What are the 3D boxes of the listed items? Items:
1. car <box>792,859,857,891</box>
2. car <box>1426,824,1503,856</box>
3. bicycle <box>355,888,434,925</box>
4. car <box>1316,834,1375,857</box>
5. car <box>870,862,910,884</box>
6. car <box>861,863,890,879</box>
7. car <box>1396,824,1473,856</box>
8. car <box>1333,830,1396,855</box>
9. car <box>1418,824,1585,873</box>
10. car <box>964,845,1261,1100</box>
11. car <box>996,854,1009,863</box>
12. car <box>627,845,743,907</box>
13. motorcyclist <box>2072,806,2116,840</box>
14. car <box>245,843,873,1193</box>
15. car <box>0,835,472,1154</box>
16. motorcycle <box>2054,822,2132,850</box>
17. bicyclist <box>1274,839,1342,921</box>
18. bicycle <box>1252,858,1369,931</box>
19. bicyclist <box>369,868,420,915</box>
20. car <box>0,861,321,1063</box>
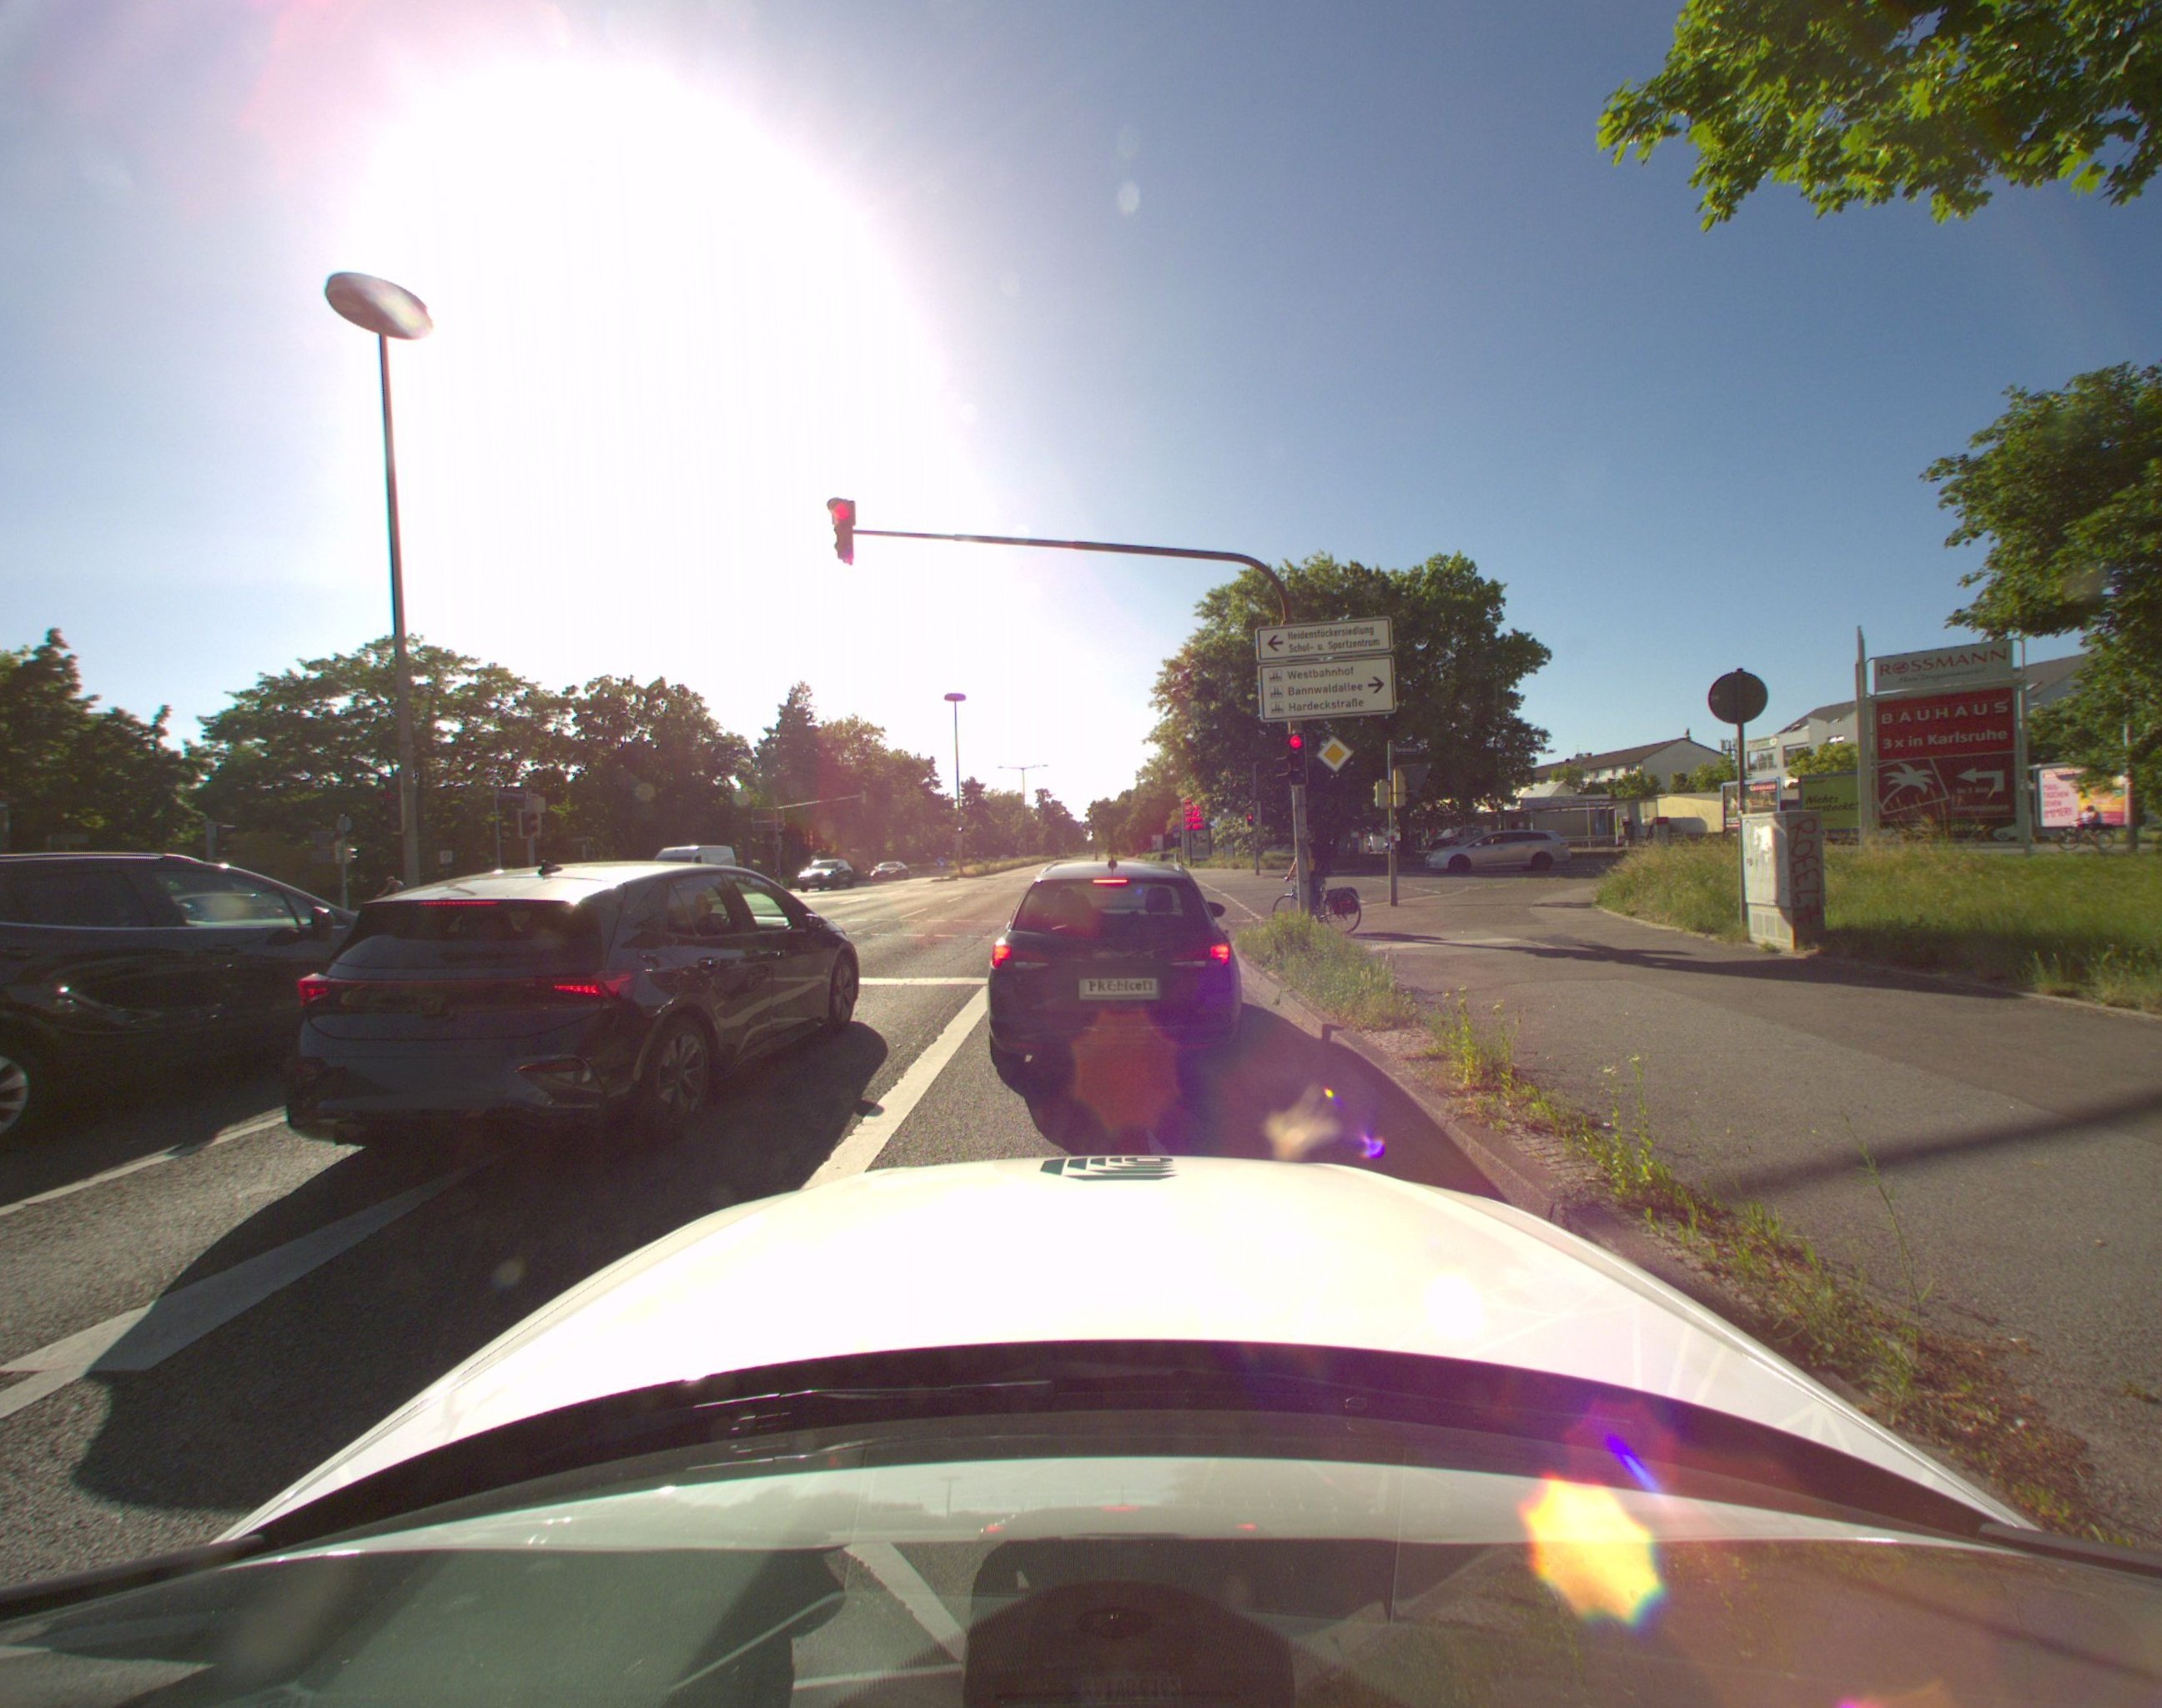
[{"bbox_3d":[-14.203,1.126,45.429,1.986,1.601,4.617,-3,0,2],"label":"car"},{"bbox_3d":[22.383,-0.816,47.527,4.002,1.680,1.733,-3,0,-21],"label":"car"},{"bbox_3d":[-25.794,1.946,30.673,0.874,1.212,2.533,-3,0,-3],"label":"bicycle"},{"bbox_3d":[19.333,-0.616,59.527,3.903,1.517,1.733,-3,0,-21],"label":"car"},{"bbox_3d":[-13.921,1.373,59.674,1.769,1.463,4.166,-3,0,2],"label":"car"},{"bbox_3d":[-17.571,1.405,69.703,1.384,1.235,3.637,-3,0,2],"label":"car"},{"bbox_3d":[21.417,-0.822,49.381,4.003,1.750,1.985,-3,0,-22],"label":"car"},{"bbox_3d":[19.668,-0.823,56.434,3.903,1.517,1.733,-3,0,-21],"label":"car"},{"bbox_3d":[14.967,-0.193,29.295,4.969,1.486,2.007,-2,0,13],"label":"car"},{"bbox_3d":[0.253,0.721,6.966,1.750,1.495,4.208,-1,0,2],"label":"car"},{"bbox_3d":[-15.469,0.879,160.720,1.986,1.530,4.001,-3,0,1],"label":"car"},{"bbox_3d":[-17.921,0.915,37.291,2.092,2.492,6.006,-3,0,2],"label":"car"},{"bbox_3d":[37.496,-1.136,30.148,0.762,1.176,0.657,-3,0,12],"label":"motorcyclist"},{"bbox_3d":[-2.955,0.768,5.858,1.678,1.580,4.208,-1,0,2],"label":"car"},{"bbox_3d":[-6.616,0.783,5.521,1.798,1.689,4.002,-3,0,2],"label":"car"},{"bbox_3d":[37.463,-0.660,30.155,1.773,0.937,0.657,-3,0,12],"label":"motorcycle"},{"bbox_3d":[3.719,0.437,13.374,0.541,1.277,0.819,-3,-2,-42],"label":"bicyclist"},{"bbox_3d":[3.736,0.683,13.374,0.541,1.097,1.755,-3,-2,-42],"label":"bicycle"},{"bbox_3d":[-25.811,1.392,30.643,0.874,1.648,1.198,-3,0,-3],"label":"bicyclist"},{"bbox_3d":[-10.219,0.983,7.923,1.824,1.702,3.999,-3,0,0],"label":"car"}]
